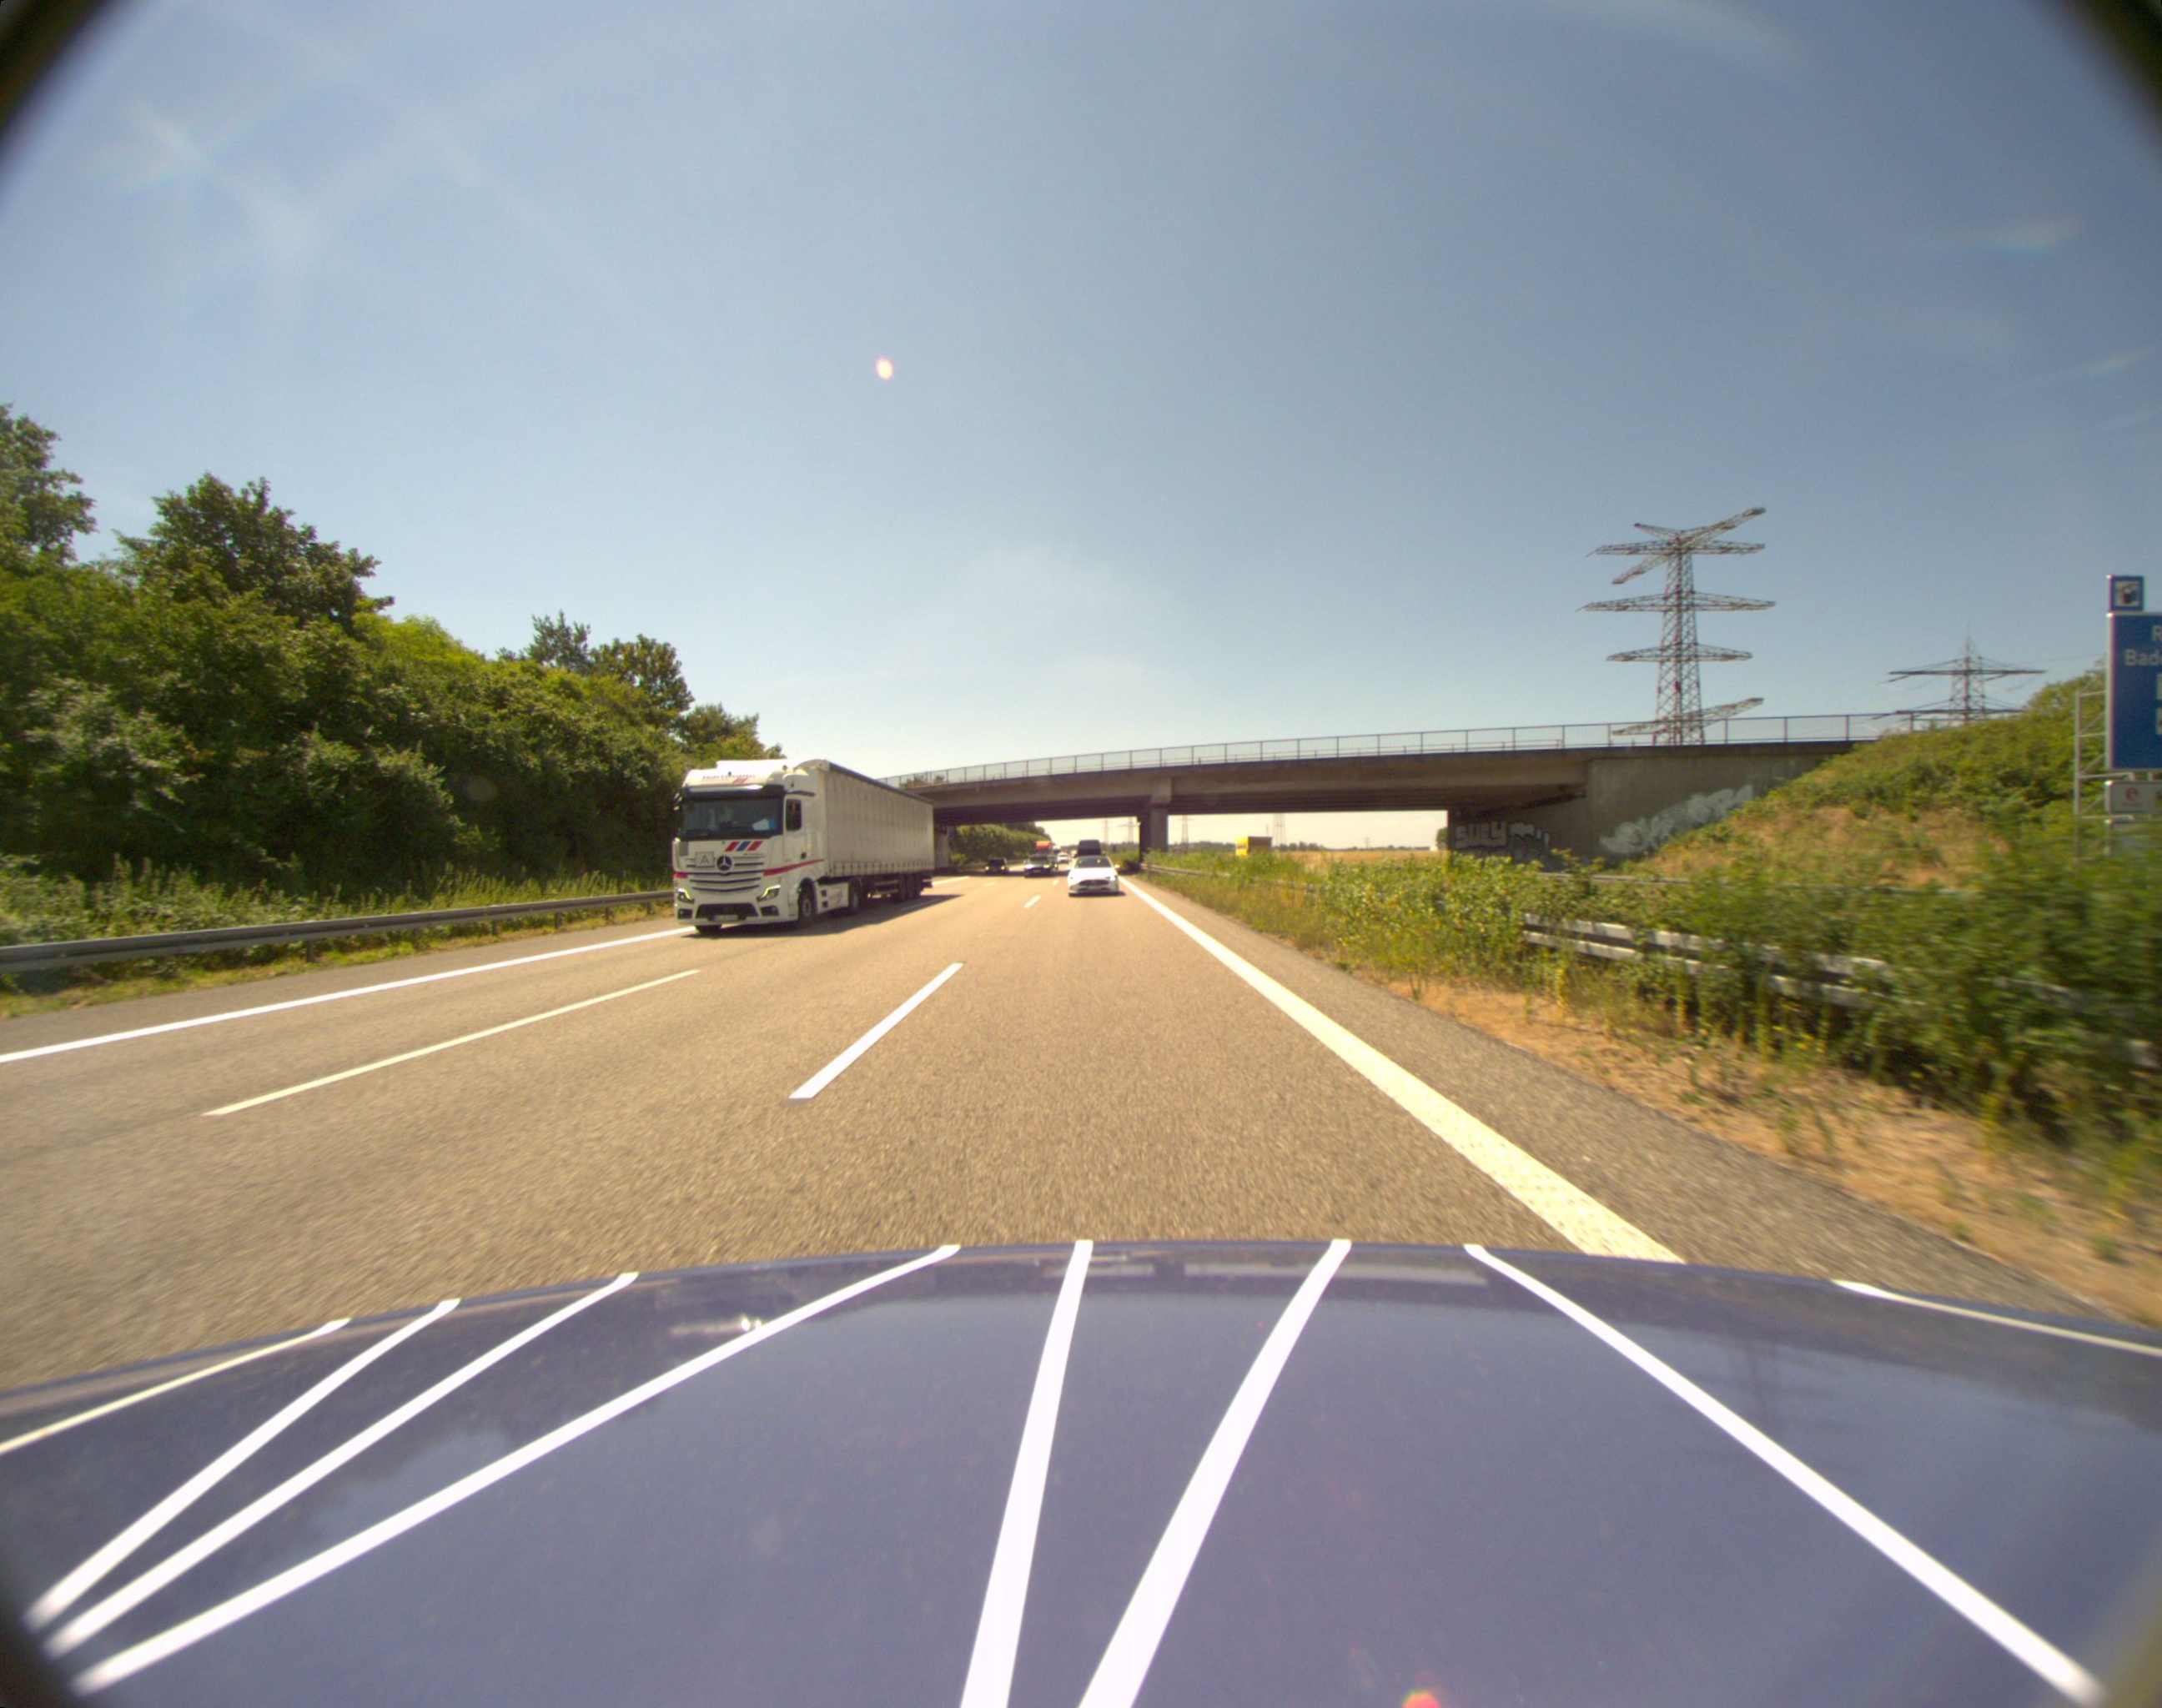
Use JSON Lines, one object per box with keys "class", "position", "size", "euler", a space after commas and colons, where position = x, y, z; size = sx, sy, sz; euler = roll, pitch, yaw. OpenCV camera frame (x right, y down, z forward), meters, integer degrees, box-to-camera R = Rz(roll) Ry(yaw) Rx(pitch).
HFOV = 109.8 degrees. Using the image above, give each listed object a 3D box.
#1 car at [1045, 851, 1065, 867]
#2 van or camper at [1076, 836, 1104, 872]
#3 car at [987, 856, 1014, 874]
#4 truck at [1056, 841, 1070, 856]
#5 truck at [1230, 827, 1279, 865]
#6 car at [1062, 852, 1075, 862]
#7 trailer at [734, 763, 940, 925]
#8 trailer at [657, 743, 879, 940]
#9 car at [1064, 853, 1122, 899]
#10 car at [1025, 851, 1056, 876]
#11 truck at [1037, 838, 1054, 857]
{"class": "car", "position": [-2.658, 0.508, 79.070], "size": [1.984, 1.671, 4.558], "euler": [0, 0, 0]}
{"class": "van or camper", "position": [0.788, -0.052, 61.874], "size": [1.998, 2.740, 5.410], "euler": [-2, 0, 2]}
{"class": "car", "position": [-6.910, 0.912, 65.500], "size": [1.840, 1.403, 4.558], "euler": [-2, 0, 0]}
{"class": "truck", "position": [-4.859, -1.607, 205.270], "size": [3.507, 3.891, 9.646], "euler": [-1, 1, -1]}
{"class": "truck", "position": [18.992, -0.887, 83.706], "size": [3.520, 3.840, 8.661], "euler": [-2, 0, 1]}
{"class": "car", "position": [-1.989, 0.469, 122.716], "size": [1.984, 1.525, 4.137], "euler": [-1, 0, 0]}
{"class": "trailer", "position": [-7.460, -0.300, 26.059], "size": [2.735, 4.079, 13.187], "euler": [-1, 0, 0]}
{"class": "trailer", "position": [-7.456, -0.281, 19.319], "size": [2.720, 4.079, 6.788], "euler": [-1, 1, 0]}
{"class": "car", "position": [0.422, 0.768, 28.951], "size": [1.984, 1.525, 4.558], "euler": [-2, 0, 0]}
{"class": "car", "position": [-2.888, 0.648, 54.736], "size": [1.984, 1.671, 4.558], "euler": [-1, 0, 0]}
{"class": "truck", "position": [-6.449, -1.218, 138.808], "size": [2.581, 3.204, 5.712], "euler": [-3, 1, 0]}
